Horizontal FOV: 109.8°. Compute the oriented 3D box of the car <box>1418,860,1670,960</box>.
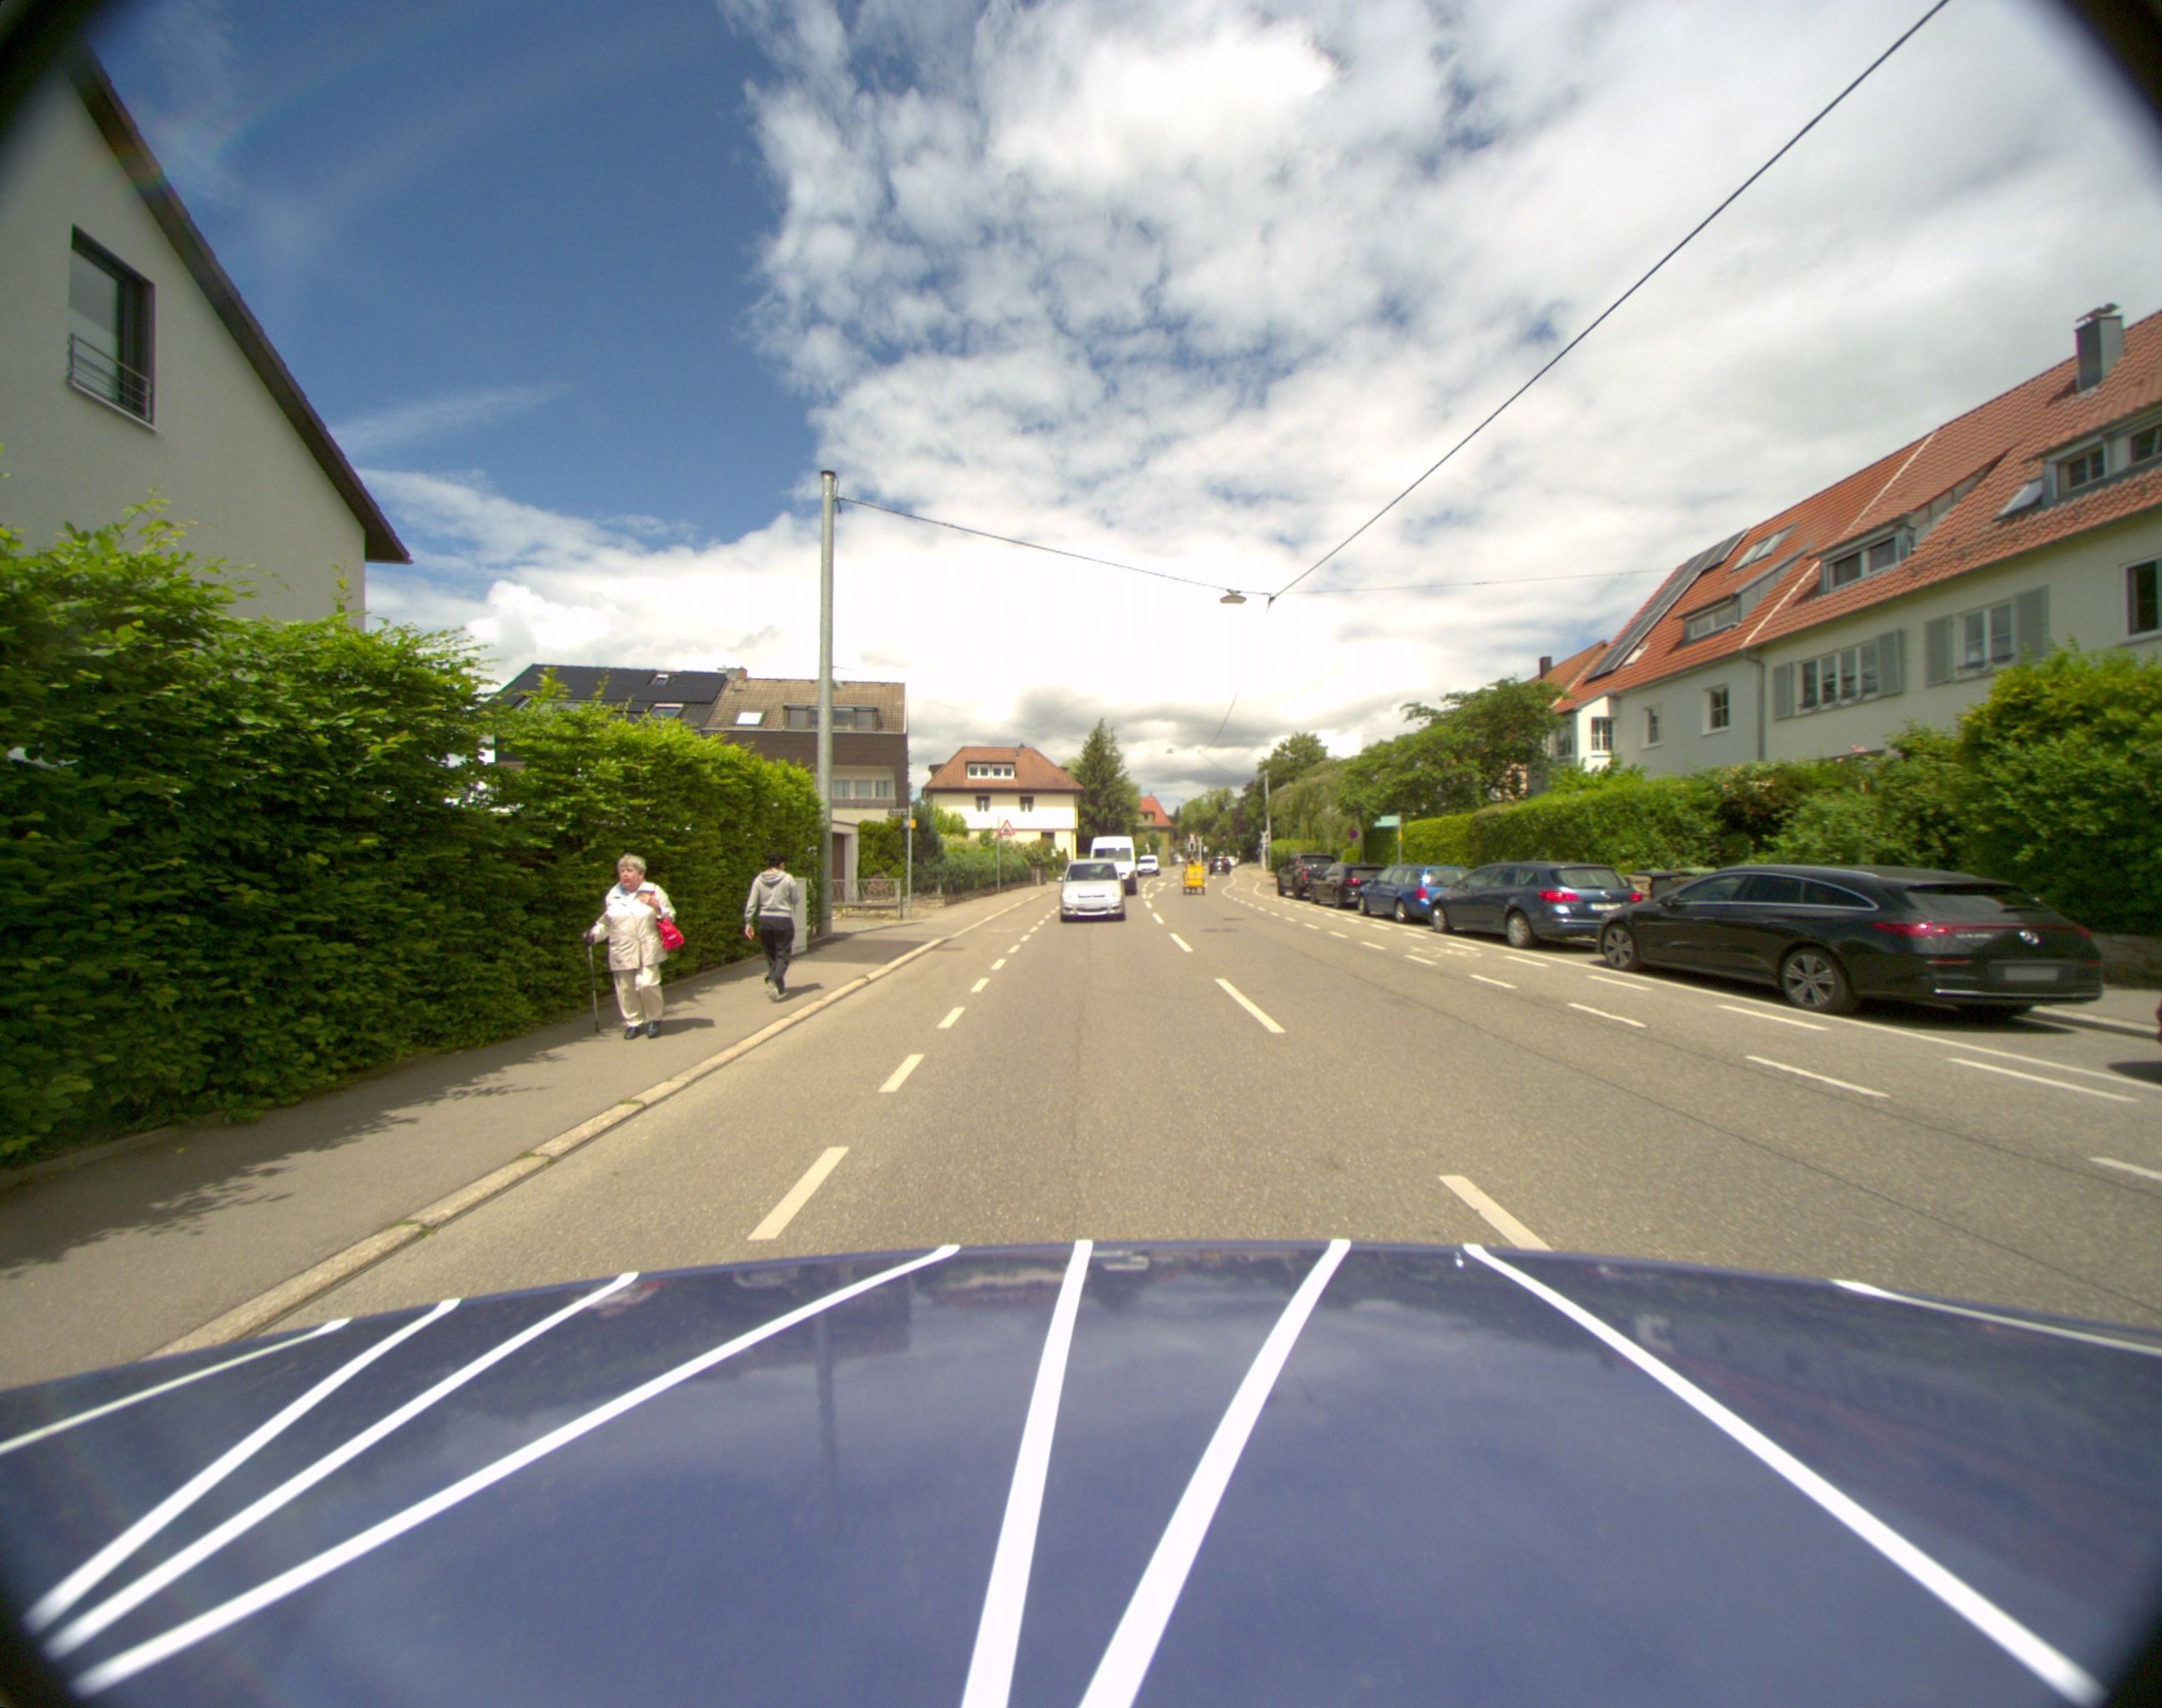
[{"bbox_3d":[8.227,0.891,14.105,1.782,1.483,4.564,-1,0,-2],"label":"car"}]

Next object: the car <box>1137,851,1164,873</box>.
[{"bbox_3d":[6.103,0.679,66.554,1.931,1.771,4.003,-2,0,11],"label":"car"}]

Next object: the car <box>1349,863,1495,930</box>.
[{"bbox_3d":[8.434,0.984,19.268,1.782,1.409,4.440,-1,0,1],"label":"car"}]

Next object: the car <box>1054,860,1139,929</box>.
[{"bbox_3d":[0.515,0.973,20.083,1.707,1.531,4.333,-2,0,8],"label":"car"}]

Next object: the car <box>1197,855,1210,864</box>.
[{"bbox_3d":[22.304,0.925,138.429,1.997,1.419,4.003,-3,0,13],"label":"car"}]

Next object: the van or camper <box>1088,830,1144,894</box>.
[{"bbox_3d":[1.665,0.376,34.224,2.029,2.564,5.926,-2,-1,6],"label":"van or camper"}]

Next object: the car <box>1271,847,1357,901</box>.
[{"bbox_3d":[9.063,0.710,30.078,1.998,1.884,5.404,1,0,3],"label":"car"}]

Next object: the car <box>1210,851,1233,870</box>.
[{"bbox_3d":[13.075,0.572,70.589,1.919,1.639,4.297,3,1,10],"label":"car"}]

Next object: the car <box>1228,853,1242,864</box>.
[{"bbox_3d":[22.907,0.701,113.043,1.850,1.565,4.162,-2,0,10],"label":"car"}]

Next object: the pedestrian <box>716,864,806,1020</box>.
[{"bbox_3d":[-3.481,0.923,8.329,0.604,1.596,0.836,1,1,2],"label":"pedestrian"}]

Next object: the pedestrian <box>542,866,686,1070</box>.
[{"bbox_3d":[-3.890,0.910,6.376,0.801,1.608,0.653,0,1,2],"label":"pedestrian"}]

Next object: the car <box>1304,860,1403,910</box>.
[{"bbox_3d":[8.677,0.940,24.582,1.782,1.409,4.340,-1,0,3],"label":"car"}]

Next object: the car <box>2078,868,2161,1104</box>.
[{"bbox_3d":[8.089,0.876,3.097,1.998,1.555,4.690,-1,0,2],"label":"car"}]

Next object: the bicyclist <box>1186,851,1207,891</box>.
[{"bbox_3d":[5.024,0.719,33.032,0.794,1.703,1.209,-1,0,5],"label":"bicyclist"}]

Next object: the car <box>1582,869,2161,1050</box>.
[{"bbox_3d":[8.192,0.926,8.674,1.998,1.400,4.690,-1,0,2],"label":"car"}]

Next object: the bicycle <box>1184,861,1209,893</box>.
[{"bbox_3d":[4.993,0.986,33.068,0.865,1.294,2.662,-1,0,4],"label":"bicycle"}]
